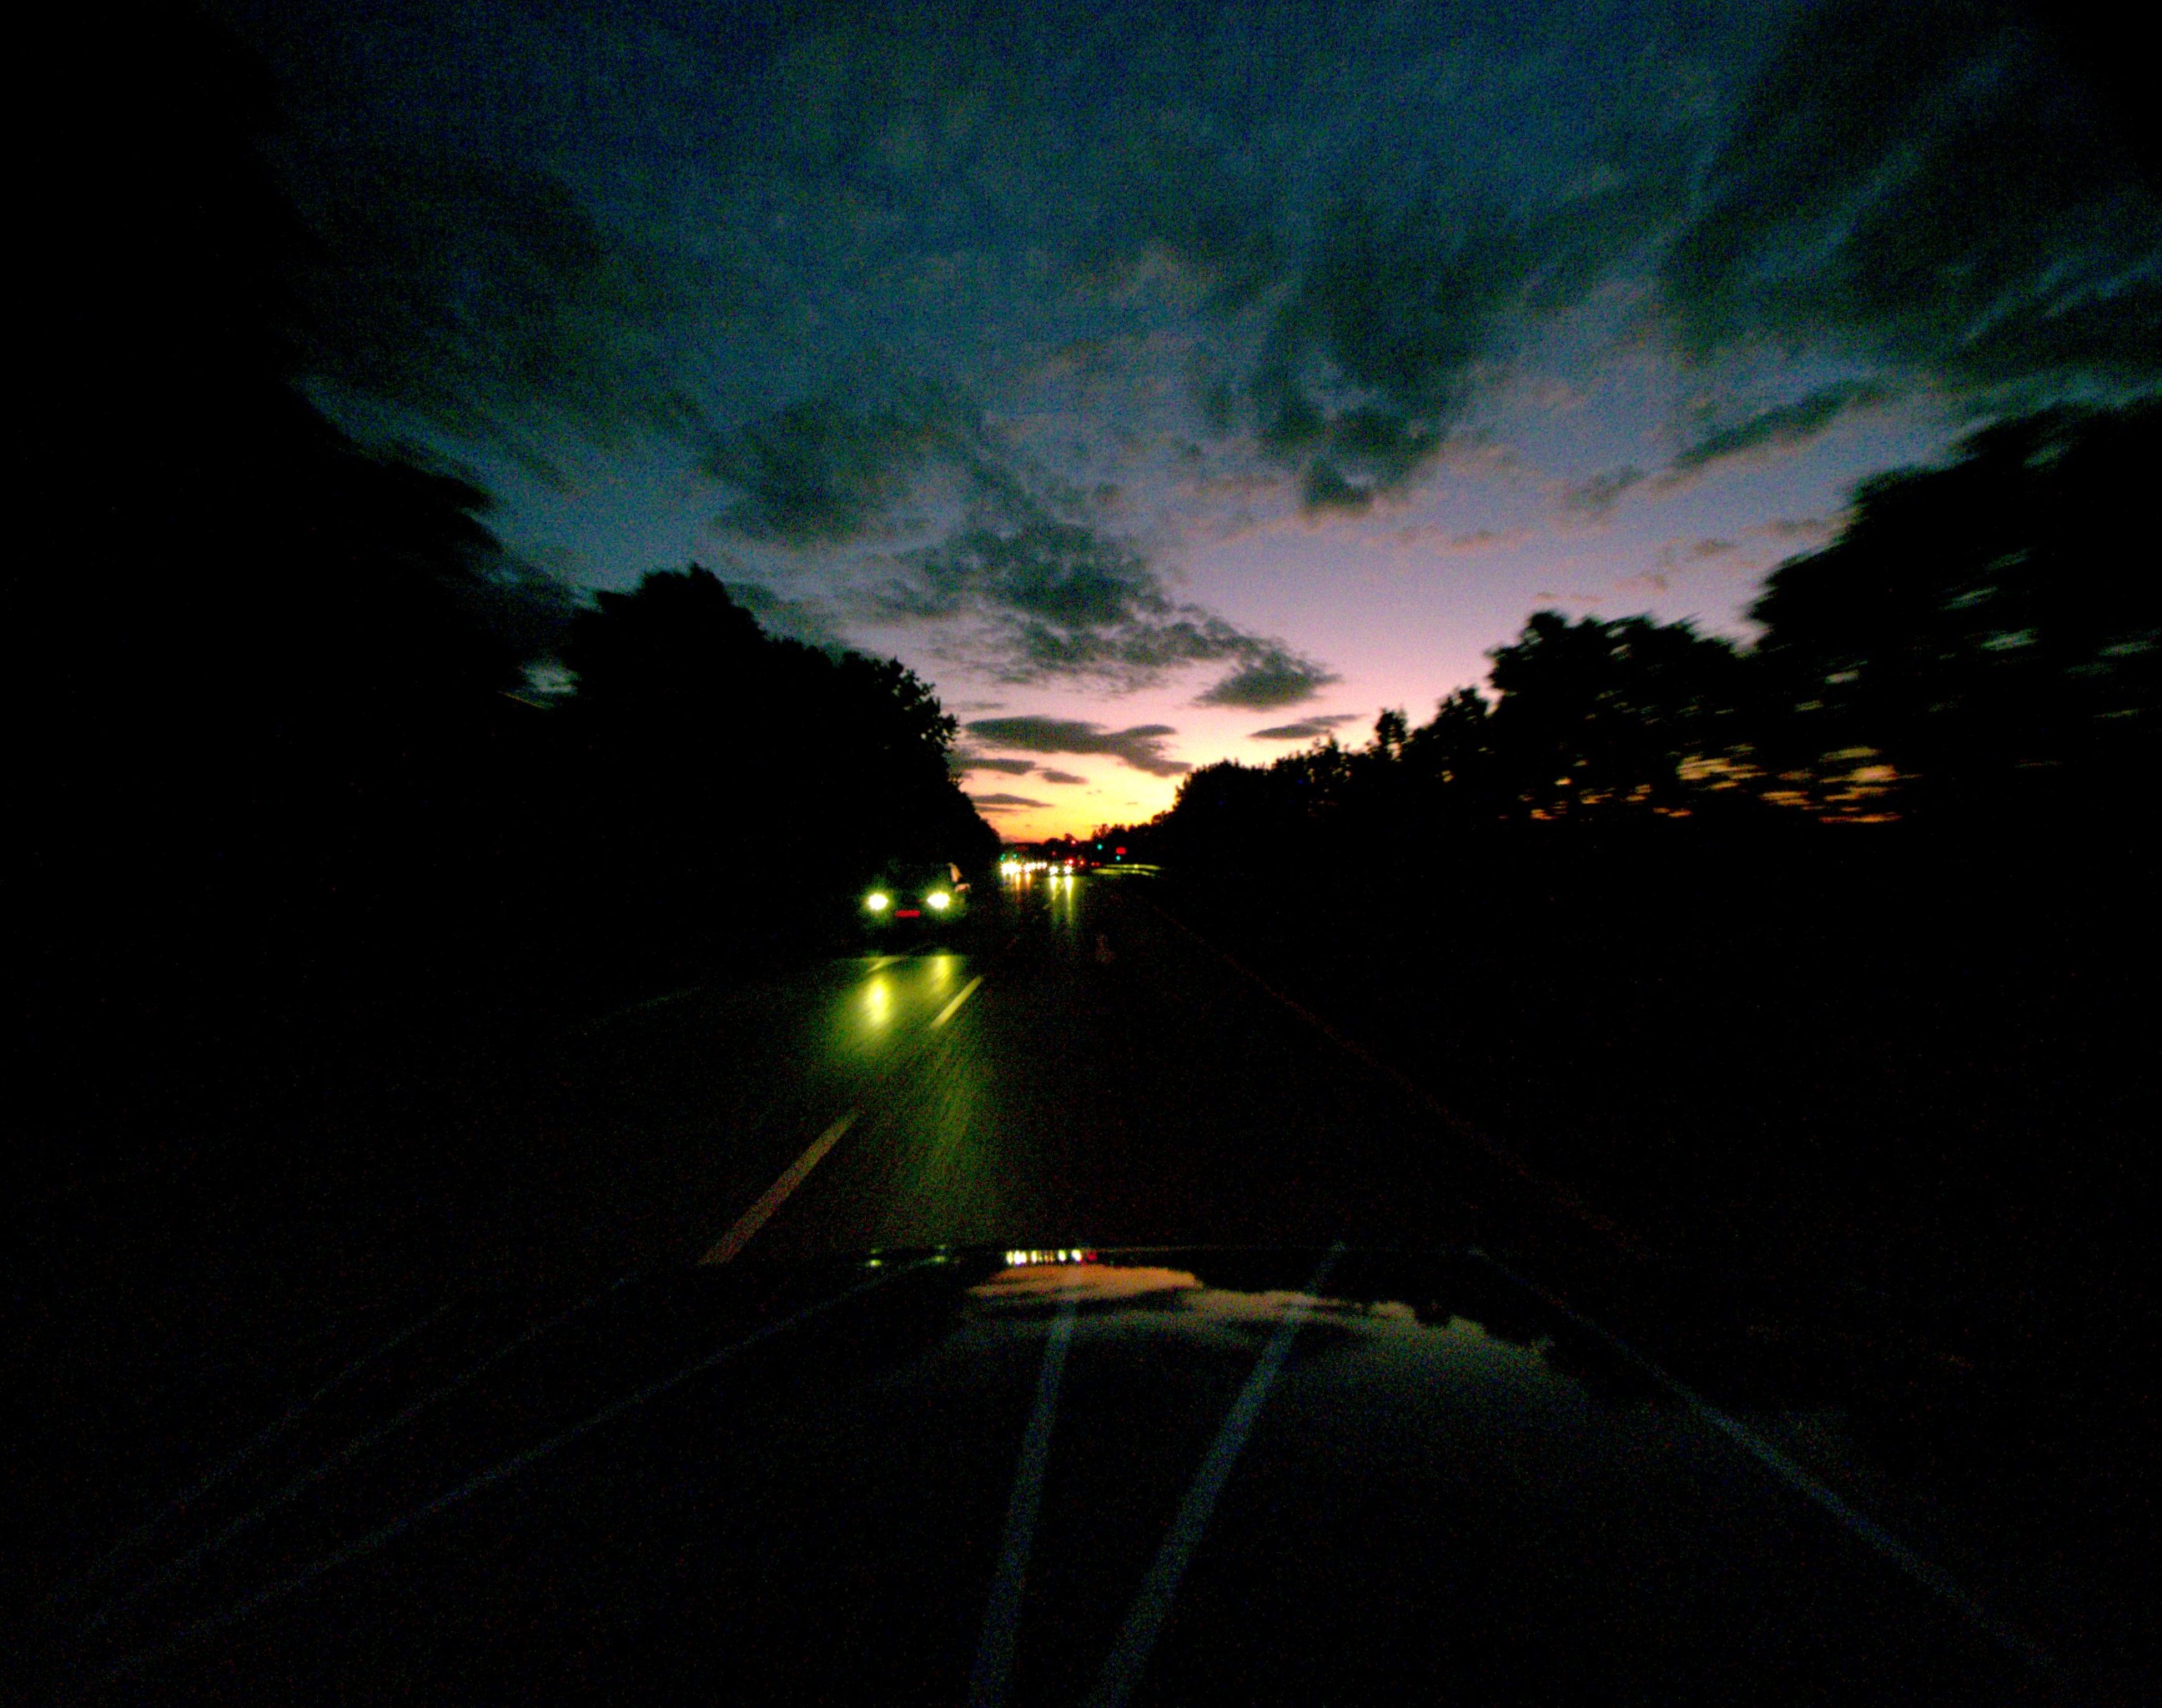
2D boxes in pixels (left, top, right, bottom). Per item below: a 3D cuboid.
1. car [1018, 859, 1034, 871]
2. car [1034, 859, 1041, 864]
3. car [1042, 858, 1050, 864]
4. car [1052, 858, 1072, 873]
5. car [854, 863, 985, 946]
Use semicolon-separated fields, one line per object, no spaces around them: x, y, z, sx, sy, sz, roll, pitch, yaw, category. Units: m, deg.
-7.123;1.379;98.778;1.624;1.460;3.871;-2;0;0;car
-12.841;2.298;223.813;1.999;1.423;4.501;1;0;-1;car
-9.444;1.861;204.849;1.999;1.602;4.501;-1;0;-1;car
-1.954;1.156;77.835;1.901;1.472;4.514;-1;0;0;car
-3.601;1.066;17.912;1.998;1.600;4.711;-2;0;0;car
